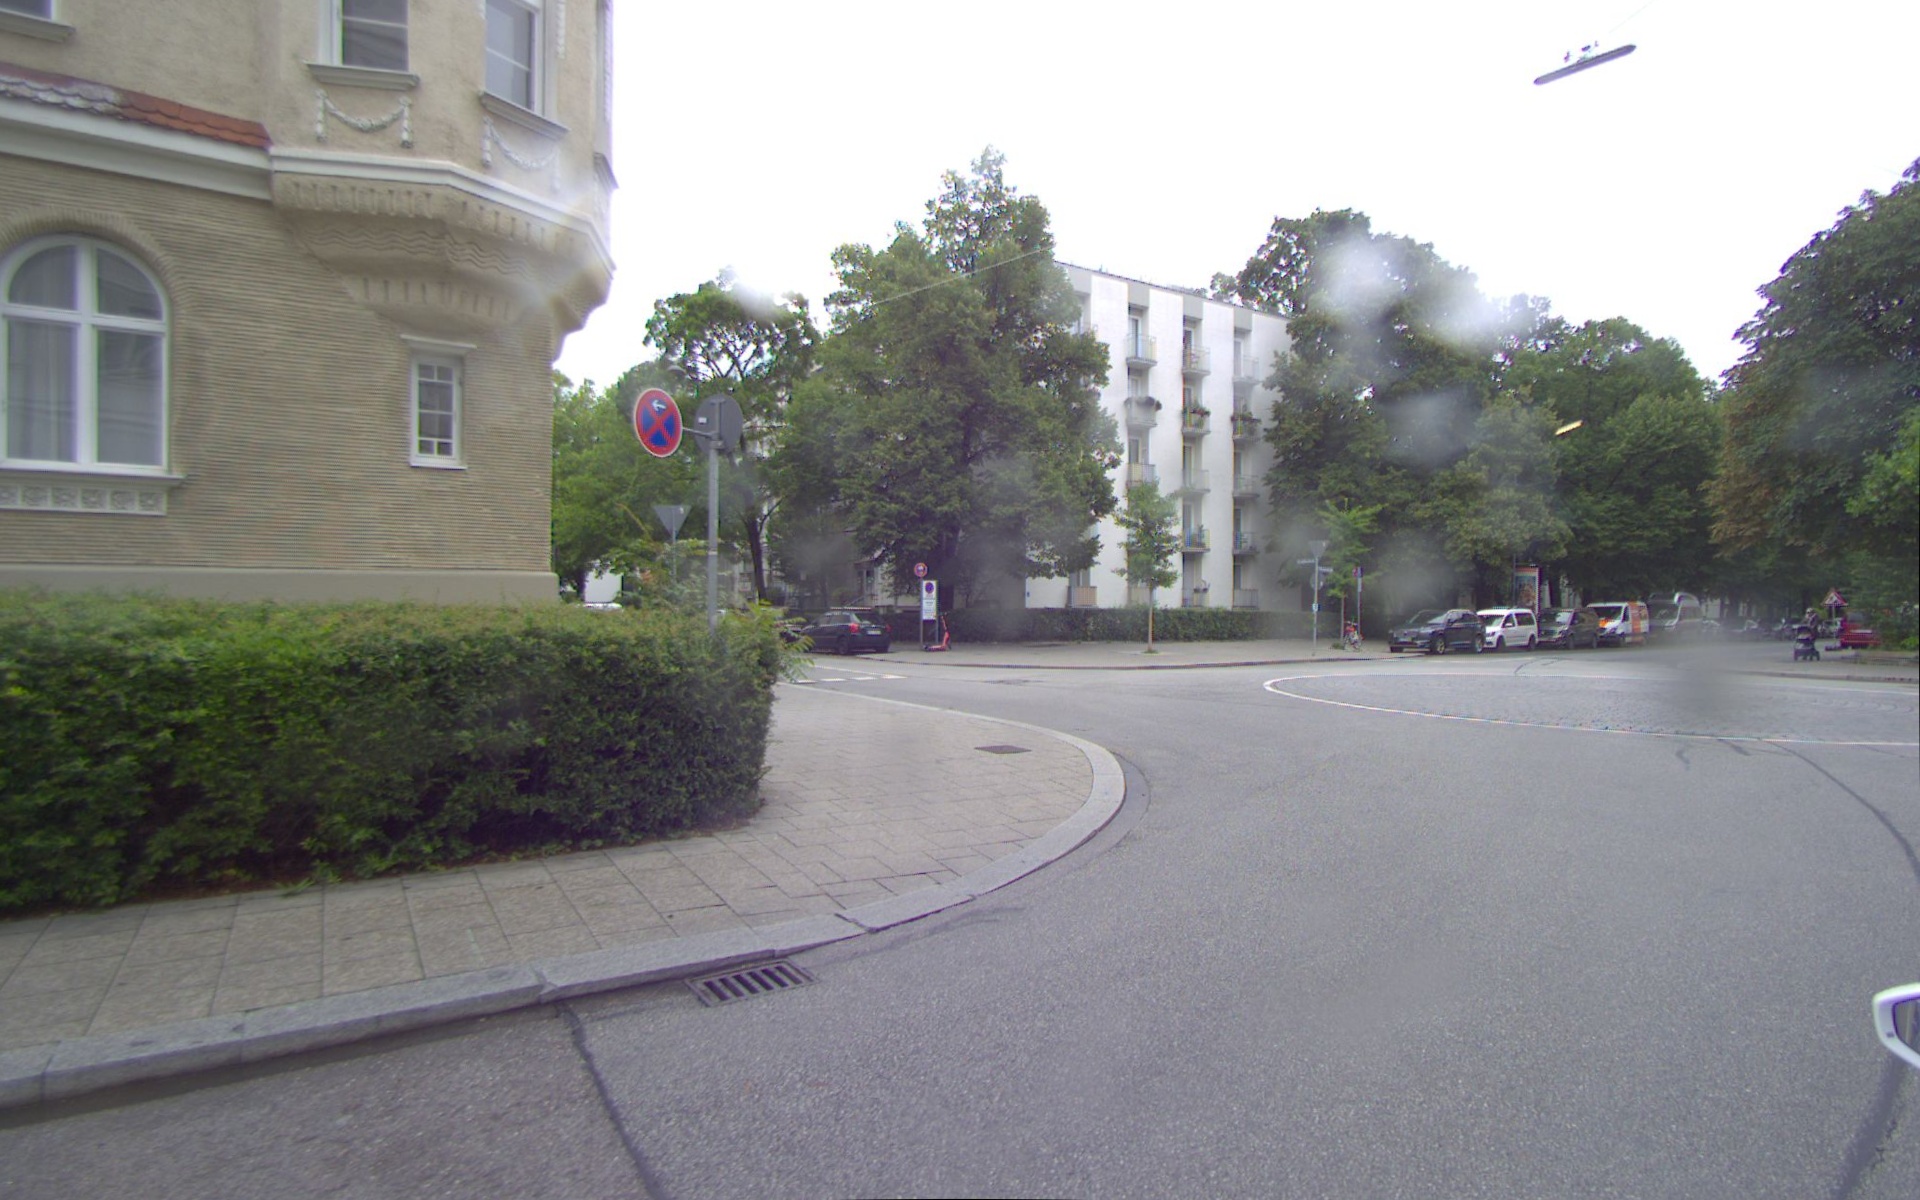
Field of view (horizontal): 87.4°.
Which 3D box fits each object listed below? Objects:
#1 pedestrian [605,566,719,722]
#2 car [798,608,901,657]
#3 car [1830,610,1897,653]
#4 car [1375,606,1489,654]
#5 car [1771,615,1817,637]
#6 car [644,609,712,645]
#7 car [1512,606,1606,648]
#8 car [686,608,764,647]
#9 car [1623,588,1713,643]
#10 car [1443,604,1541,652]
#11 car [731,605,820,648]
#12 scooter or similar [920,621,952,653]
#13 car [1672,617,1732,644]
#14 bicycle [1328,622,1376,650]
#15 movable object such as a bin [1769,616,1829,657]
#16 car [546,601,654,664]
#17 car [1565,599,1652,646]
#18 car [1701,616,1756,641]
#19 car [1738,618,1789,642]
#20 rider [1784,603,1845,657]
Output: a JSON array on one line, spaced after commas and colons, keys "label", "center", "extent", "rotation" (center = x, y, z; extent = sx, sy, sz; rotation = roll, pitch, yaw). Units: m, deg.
[{"label": "pedestrian", "center": [-3.679, 0.526, 12.443], "extent": [0.874, 1.834, 1.055], "rotation": [0, 0, 27]}, {"label": "car", "center": [-3.818, 1.053, 34.228], "extent": [1.759, 1.538, 3.993], "rotation": [1, -1, -36]}, {"label": "car", "center": [43.705, 1.479, 48.549], "extent": [4.414, 1.948, 2.022], "rotation": [1, -1, -43]}, {"label": "car", "center": [18.564, 1.149, 39.421], "extent": [4.861, 1.790, 2.050], "rotation": [1, -1, -37]}, {"label": "car", "center": [63.881, 1.970, 76.893], "extent": [4.037, 1.592, 1.881], "rotation": [1, -1, -38]}, {"label": "car", "center": [-13.077, 1.215, 46.499], "extent": [1.759, 1.538, 3.993], "rotation": [1, -1, -36]}, {"label": "car", "center": [27.969, 1.237, 46.834], "extent": [4.940, 1.883, 2.050], "rotation": [1, -1, -37]}, {"label": "car", "center": [-9.875, 1.131, 42.026], "extent": [1.759, 1.538, 3.993], "rotation": [1, -1, -36]}, {"label": "car", "center": [40.548, 0.895, 57.485], "extent": [6.517, 2.961, 2.318], "rotation": [1, 0, -37]}, {"label": "car", "center": [22.738, 1.157, 42.845], "extent": [4.824, 1.920, 1.911], "rotation": [1, -1, -38]}, {"label": "car", "center": [-7.082, 0.966, 38.269], "extent": [1.759, 1.538, 3.993], "rotation": [1, -1, -36]}, {"label": "scooter or similar", "center": [-0.781, 1.199, 32.906], "extent": [0.374, 1.039, 1.134], "rotation": [0, 0, 44]}, {"label": "car", "center": [45.201, 1.824, 61.150], "extent": [4.271, 1.592, 1.881], "rotation": [1, -1, -38]}, {"label": "bicycle", "center": [15.742, 1.440, 40.309], "extent": [1.952, 1.065, 0.905], "rotation": [1, -1, -36]}, {"label": "movable object such as a bin", "center": [26.639, 1.161, 31.897], "extent": [1.071, 1.284, 1.075], "rotation": [0, -3, -24]}, {"label": "car", "center": [-10.781, 0.910, 29.829], "extent": [1.979, 1.714, 4.766], "rotation": [1, -1, -33]}, {"label": "car", "center": [33.340, 1.146, 51.591], "extent": [5.146, 2.281, 2.095], "rotation": [1, -1, -37]}, {"label": "car", "center": [49.066, 1.816, 64.116], "extent": [4.037, 1.558, 1.881], "rotation": [1, -1, -38]}, {"label": "car", "center": [55.614, 2.055, 69.542], "extent": [4.037, 1.592, 1.881], "rotation": [1, -1, -38]}, {"label": "rider", "center": [27.446, 0.967, 32.279], "extent": [1.123, 1.689, 1.080], "rotation": [0, -3, -24]}]
